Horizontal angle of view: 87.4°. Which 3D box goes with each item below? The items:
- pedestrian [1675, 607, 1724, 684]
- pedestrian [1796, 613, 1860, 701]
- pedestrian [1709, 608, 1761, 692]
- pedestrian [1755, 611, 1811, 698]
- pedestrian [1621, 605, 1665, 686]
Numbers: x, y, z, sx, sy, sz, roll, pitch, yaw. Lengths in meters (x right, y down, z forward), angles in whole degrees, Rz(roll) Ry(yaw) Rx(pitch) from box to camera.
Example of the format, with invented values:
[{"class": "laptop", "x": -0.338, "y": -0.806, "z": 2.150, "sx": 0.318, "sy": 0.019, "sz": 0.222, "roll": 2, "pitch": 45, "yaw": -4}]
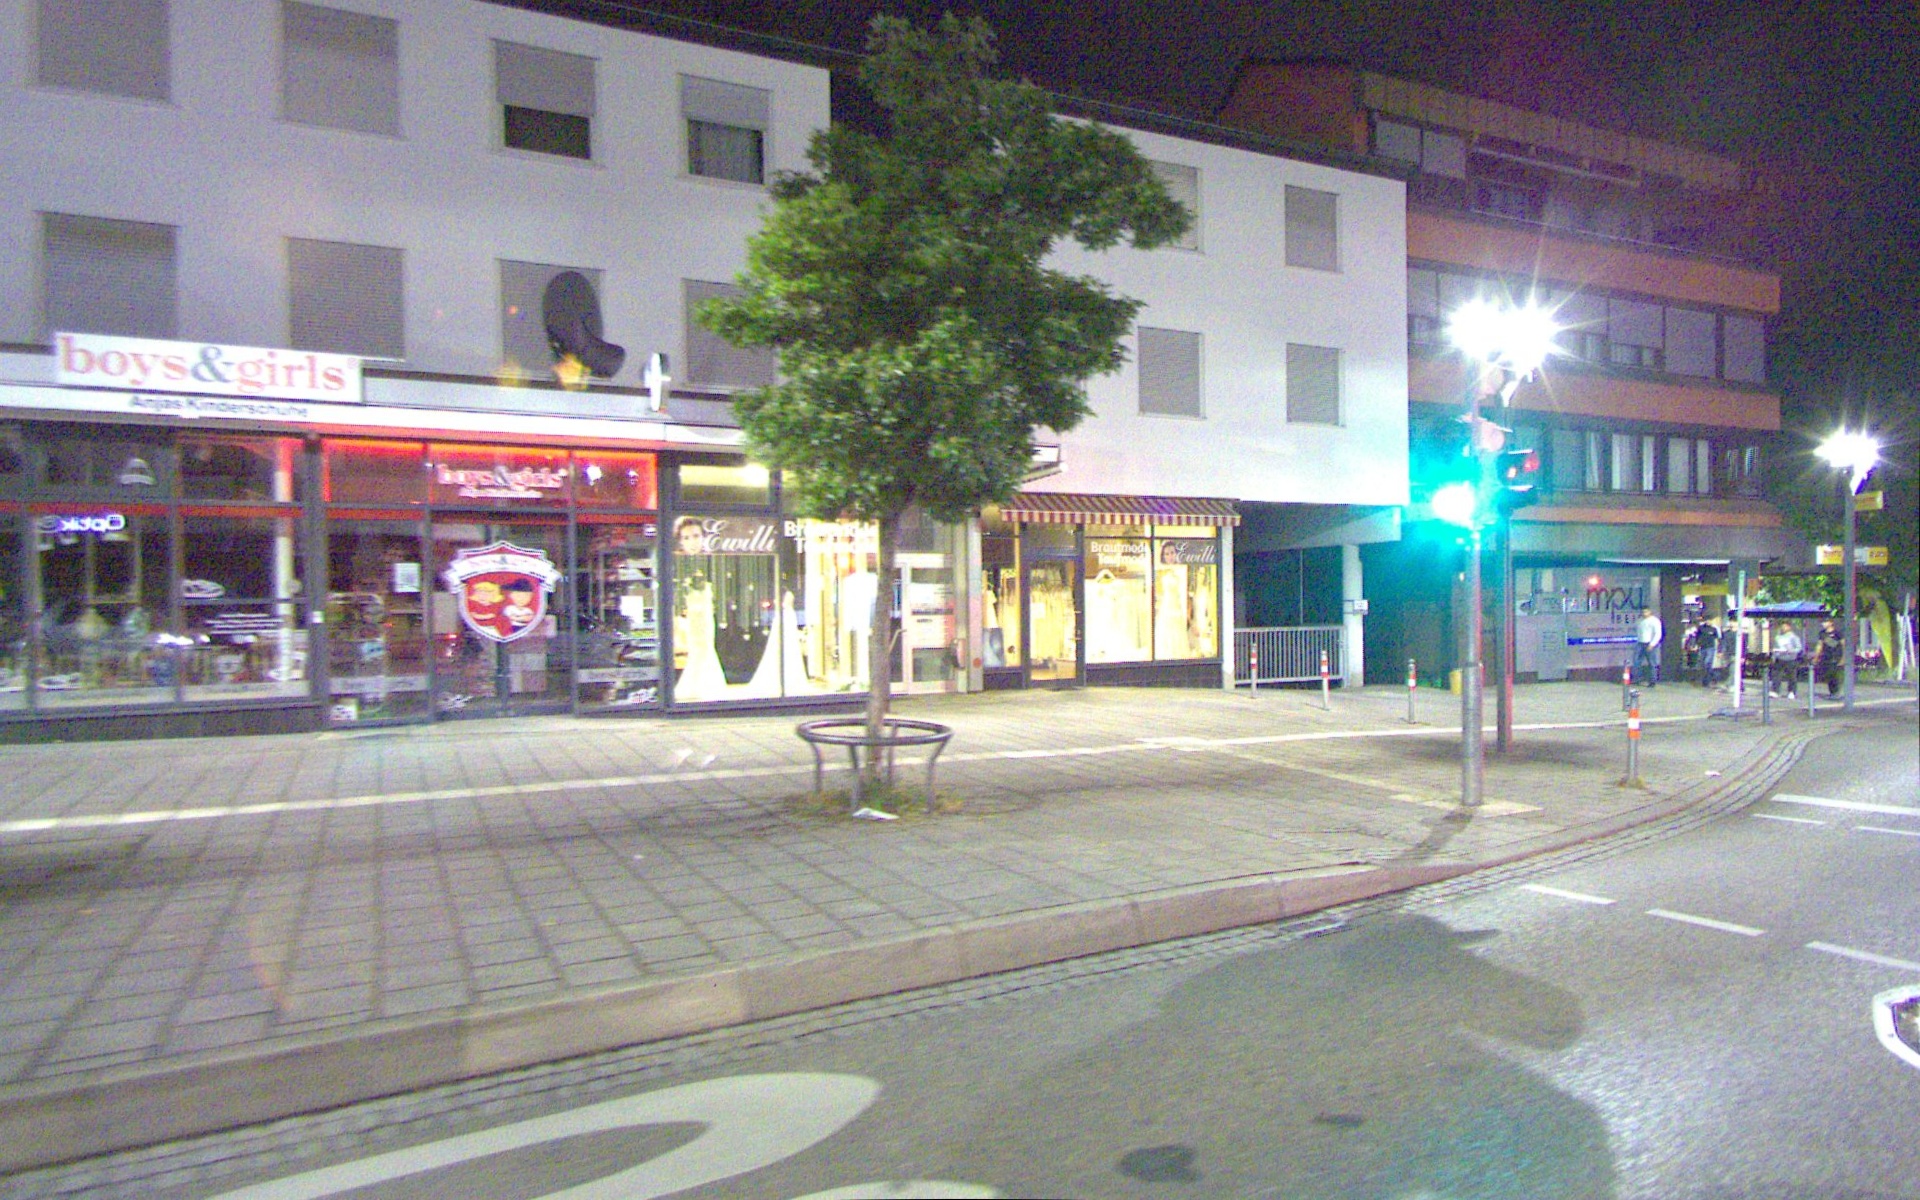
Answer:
[{"class": "pedestrian", "x": 17.814, "y": 1.093, "z": 24.208, "sx": 0.561, "sy": 1.819, "sz": 0.714, "roll": 3, "pitch": -1, "yaw": -23}, {"class": "pedestrian", "x": 18.708, "y": 1.213, "z": 21.660, "sx": 0.723, "sy": 1.819, "sz": 0.718, "roll": 2, "pitch": -1, "yaw": -2}, {"class": "pedestrian", "x": 17.407, "y": 1.112, "z": 22.564, "sx": 0.561, "sy": 1.819, "sz": 0.714, "roll": 3, "pitch": -1, "yaw": -23}, {"class": "pedestrian", "x": 17.763, "y": 1.161, "z": 21.690, "sx": 0.561, "sy": 1.819, "sz": 0.714, "roll": 3, "pitch": -1, "yaw": -23}, {"class": "pedestrian", "x": 15.810, "y": 1.053, "z": 23.243, "sx": 0.566, "sy": 1.819, "sz": 0.709, "roll": 3, "pitch": -1, "yaw": -44}]
